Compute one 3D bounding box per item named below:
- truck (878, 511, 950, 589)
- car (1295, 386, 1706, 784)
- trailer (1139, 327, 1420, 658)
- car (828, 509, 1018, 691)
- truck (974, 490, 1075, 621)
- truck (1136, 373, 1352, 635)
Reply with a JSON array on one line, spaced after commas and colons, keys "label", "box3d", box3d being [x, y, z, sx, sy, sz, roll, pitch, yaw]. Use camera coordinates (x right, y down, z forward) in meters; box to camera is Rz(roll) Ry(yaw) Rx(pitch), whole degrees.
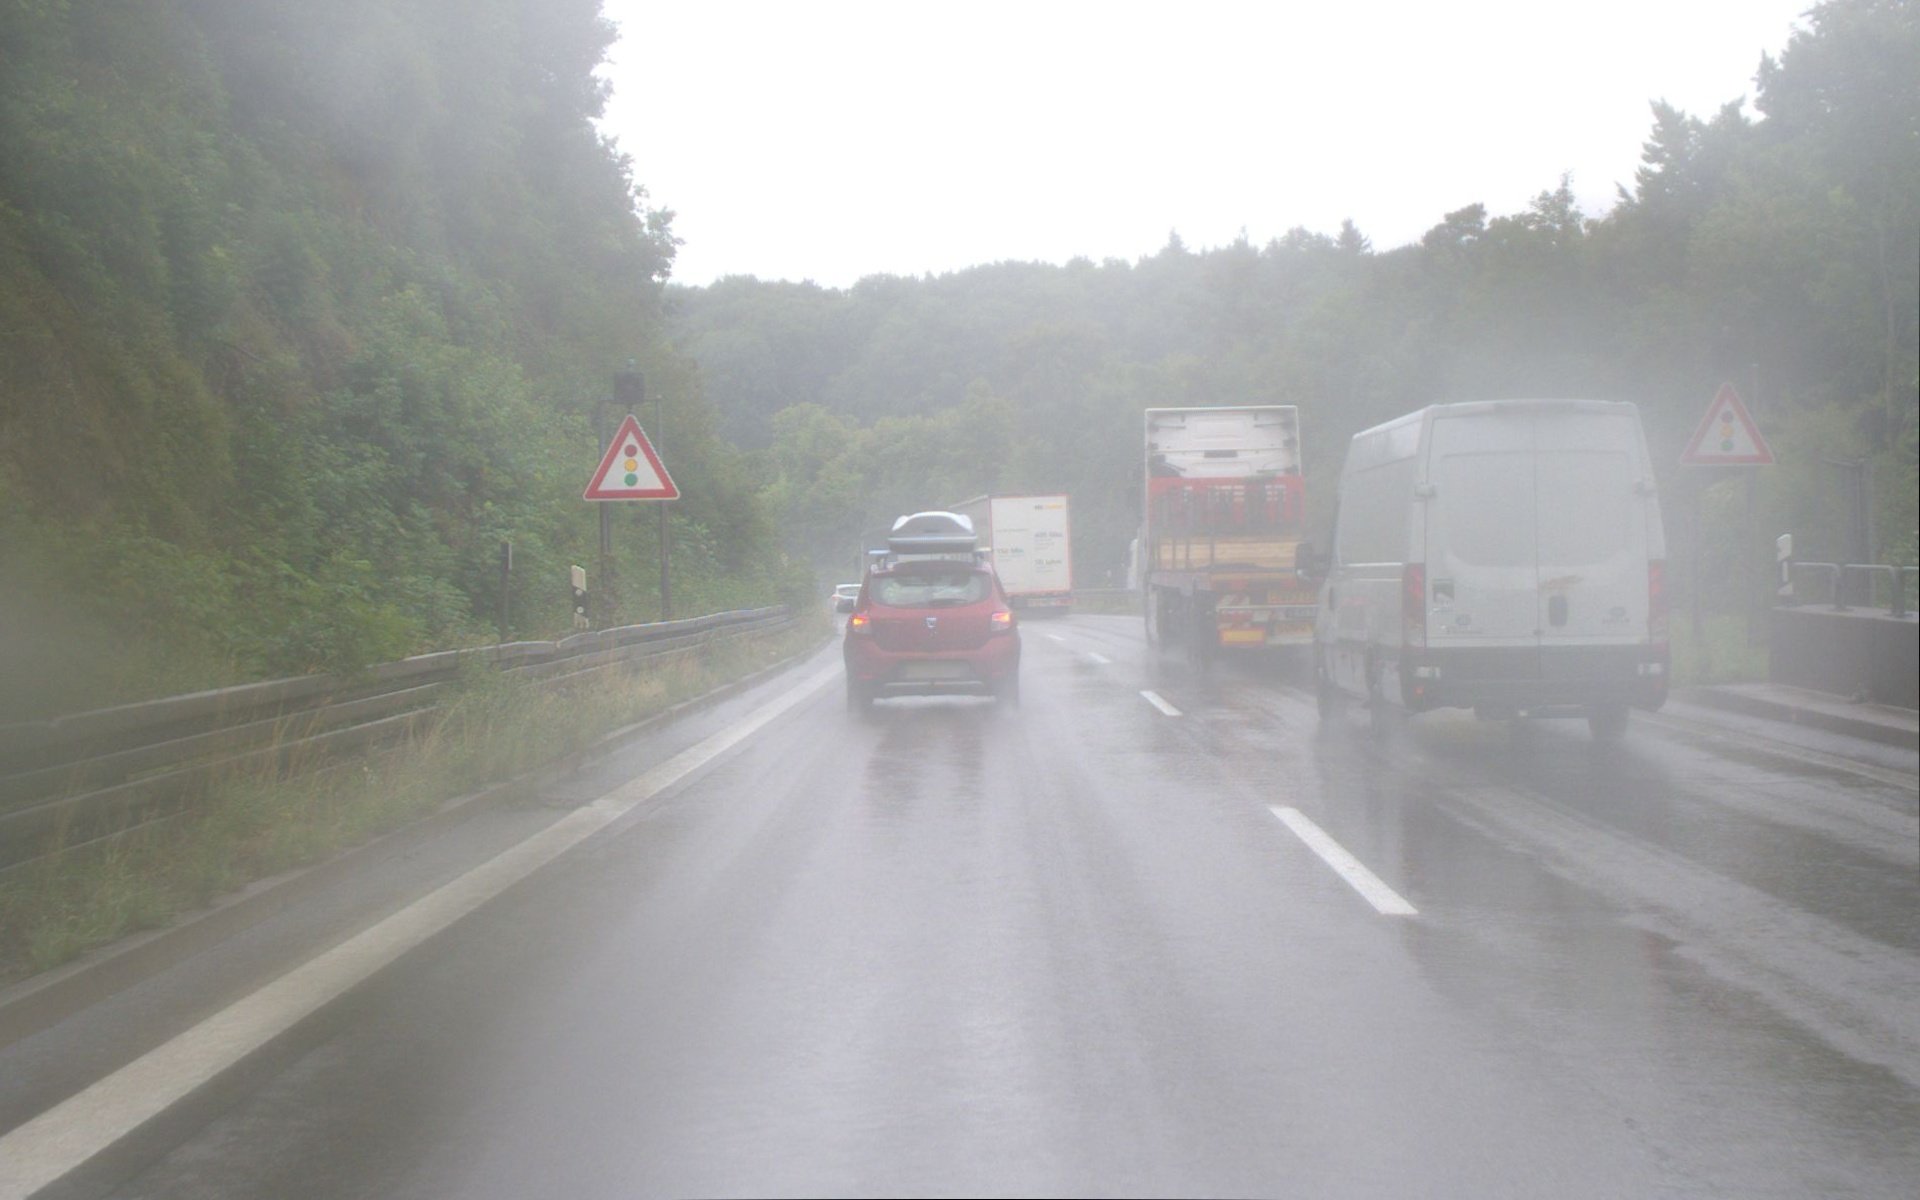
[{"label": "truck", "box3d": [-2.038, -2.216, 151.400, 3.062, 3.300, 8.071, 0, 1, -1]}, {"label": "car", "box3d": [4.205, -0.167, 28.174, 2.206, 2.784, 7.382, 1, 1, 1]}, {"label": "trailer", "box3d": [4.205, -1.412, 48.256, 3.218, 3.985, 13.523, 0, 1, 2]}, {"label": "car", "box3d": [-0.322, -0.033, 34.896, 1.758, 1.679, 4.000, -2, 1, 1]}, {"label": "truck", "box3d": [2.080, -1.491, 114.600, 2.687, 4.080, 9.316, -2, 1, -2]}, {"label": "truck", "box3d": [4.456, -1.501, 55.011, 3.220, 3.964, 5.438, 0, 1, 2]}]
